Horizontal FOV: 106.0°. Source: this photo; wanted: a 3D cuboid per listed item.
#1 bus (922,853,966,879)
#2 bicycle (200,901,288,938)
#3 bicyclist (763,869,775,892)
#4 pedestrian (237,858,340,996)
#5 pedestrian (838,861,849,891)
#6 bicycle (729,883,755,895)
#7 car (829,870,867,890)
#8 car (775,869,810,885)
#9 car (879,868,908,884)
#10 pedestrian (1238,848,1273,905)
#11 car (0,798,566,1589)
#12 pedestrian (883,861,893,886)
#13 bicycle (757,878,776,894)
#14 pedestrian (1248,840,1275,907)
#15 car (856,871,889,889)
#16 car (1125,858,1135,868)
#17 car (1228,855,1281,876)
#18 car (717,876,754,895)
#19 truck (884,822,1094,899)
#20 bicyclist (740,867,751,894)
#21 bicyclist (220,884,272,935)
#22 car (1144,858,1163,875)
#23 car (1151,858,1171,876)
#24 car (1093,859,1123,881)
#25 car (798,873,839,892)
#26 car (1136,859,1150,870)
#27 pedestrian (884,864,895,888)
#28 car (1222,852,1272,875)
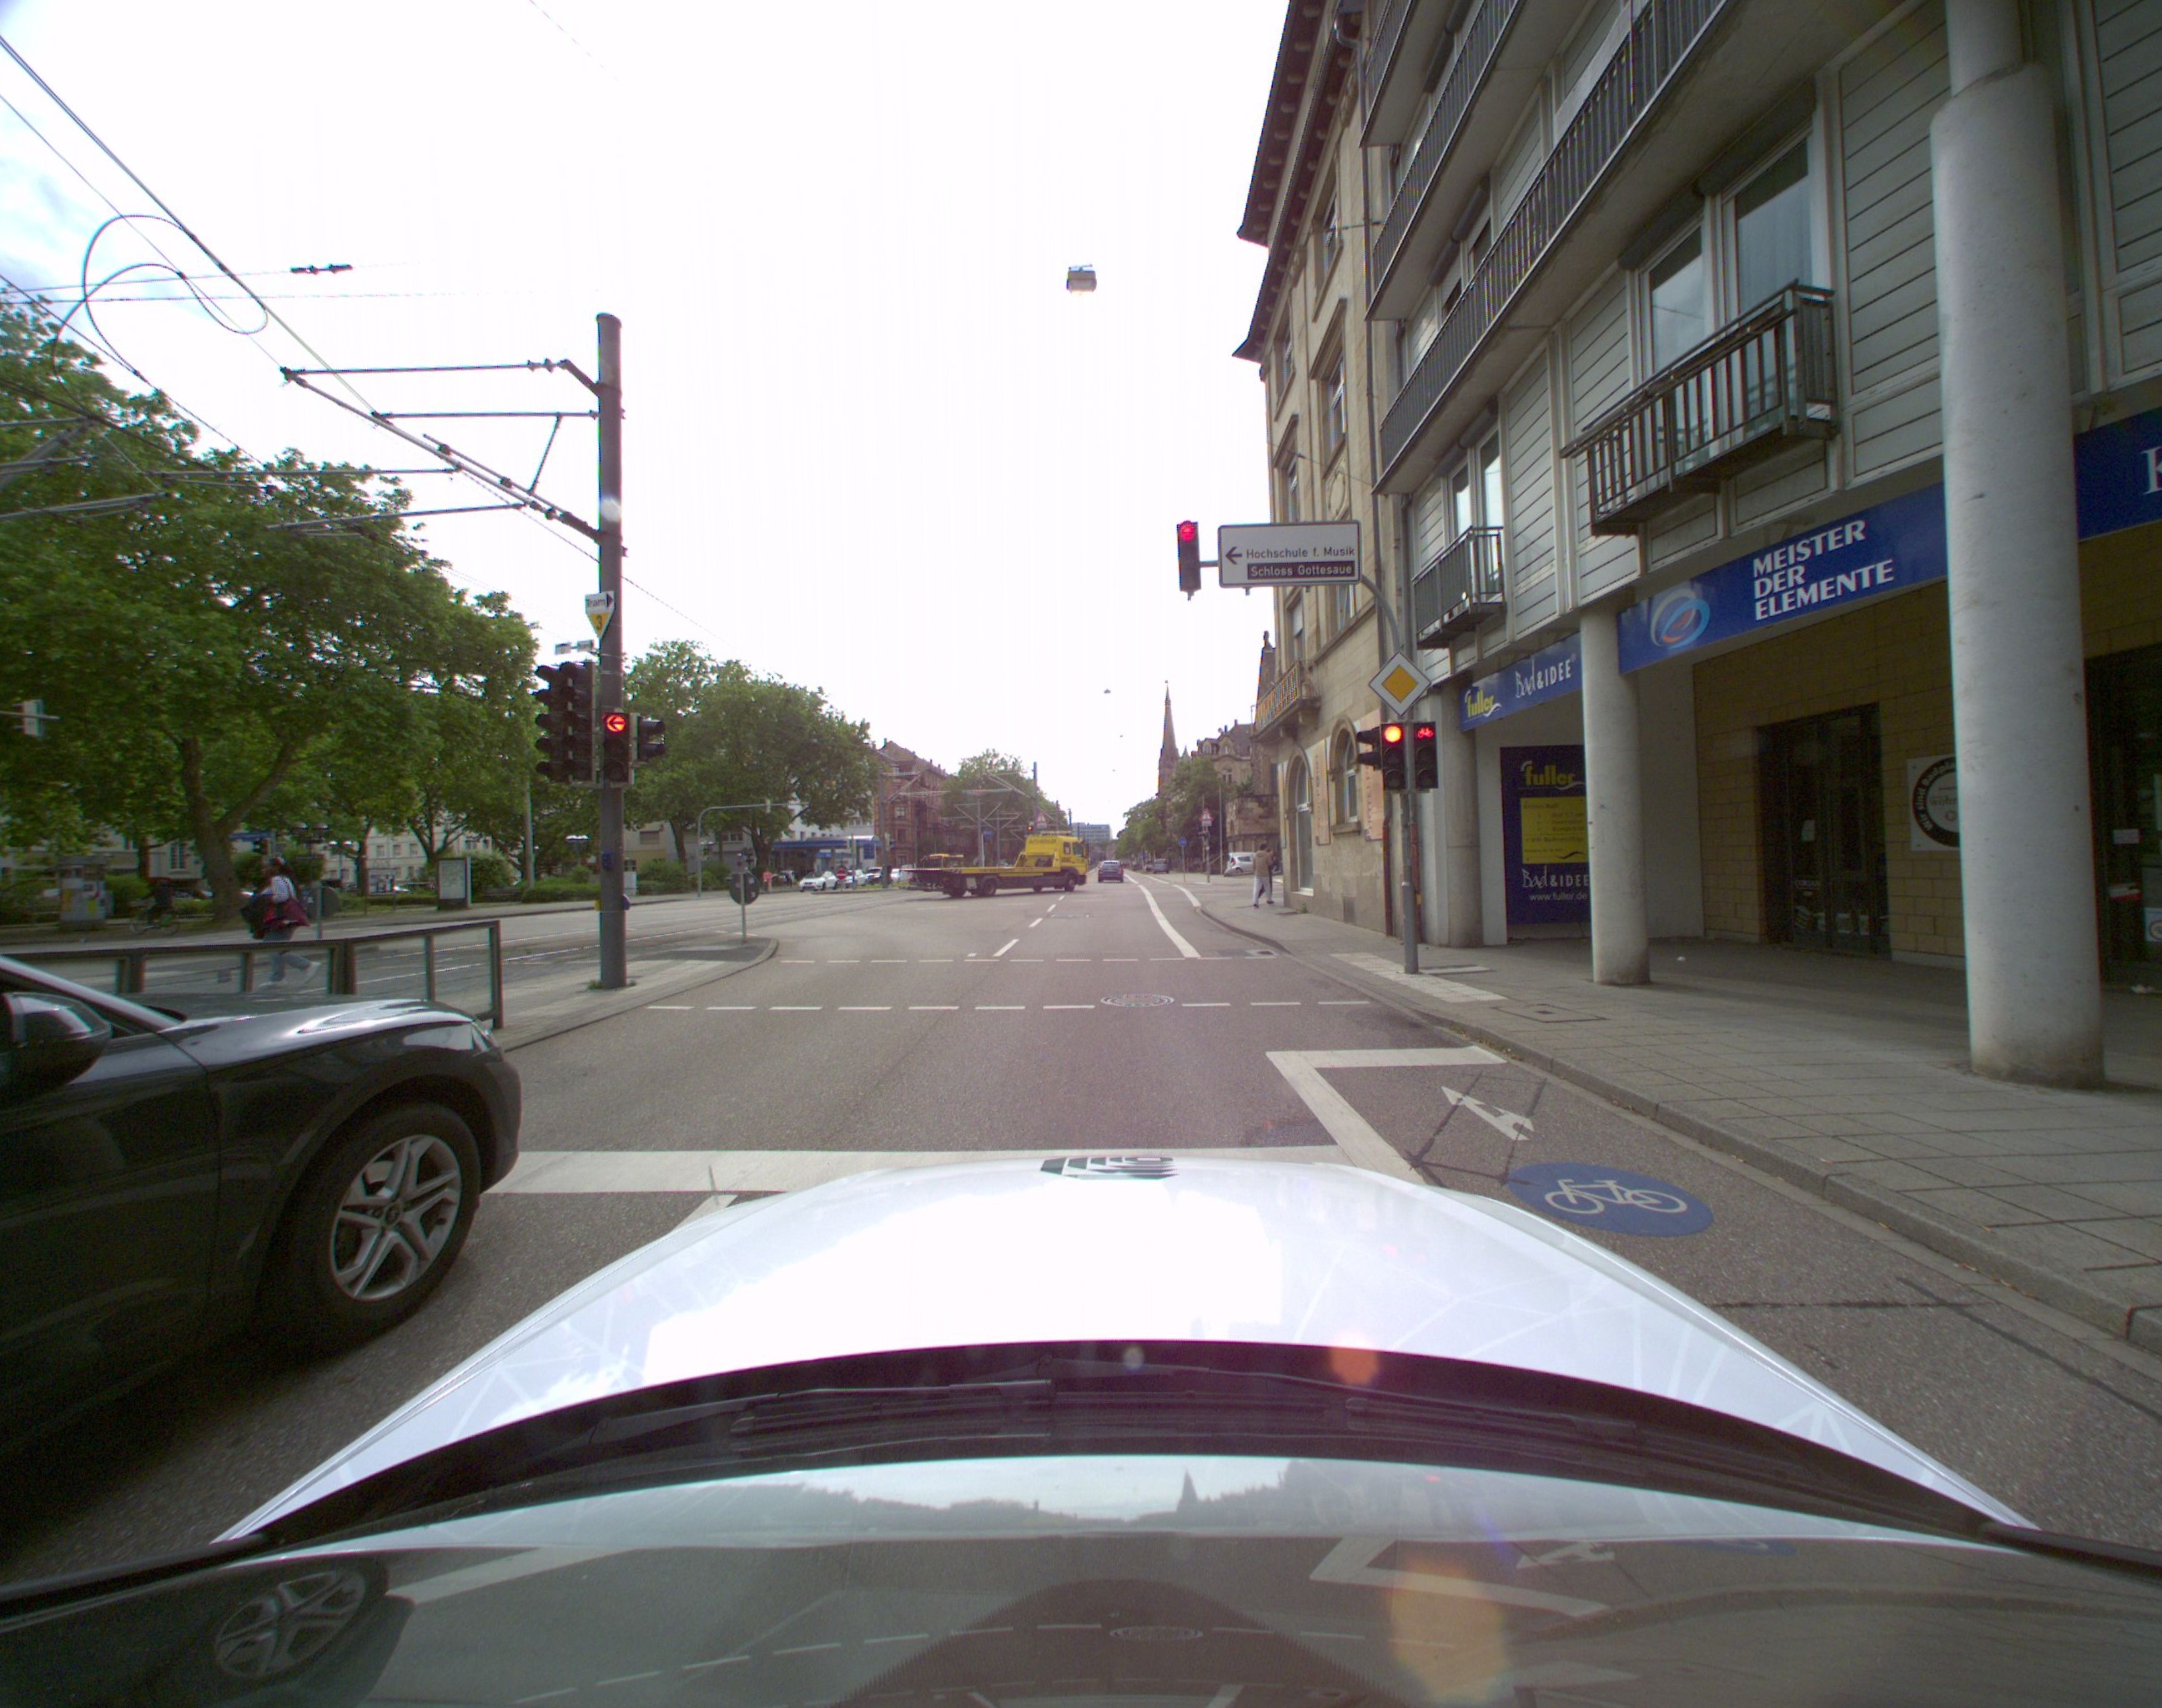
[{"bbox_3d":[-17.382,1.538,104.532,3.073,3.112,13.098,0,-1,2],"label":"bus"},{"bbox_3d":[-28.410,2.210,27.667,1.943,1.136,0.731,0,-1,-19],"label":"bicycle"},{"bbox_3d":[-21.463,1.793,55.983,0.585,1.568,0.619,0,-1,1],"label":"bicyclist"},{"bbox_3d":[-10.190,0.895,10.480,0.663,1.680,0.874,-1,-1,40],"label":"pedestrian"},{"bbox_3d":[-14.473,1.346,49.652,0.571,1.794,0.518,0,-1,-3],"label":"pedestrian"},{"bbox_3d":[-22.925,2.375,55.072,1.665,0.773,0.659,-1,-1,22],"label":"bicycle"},{"bbox_3d":[-18.813,2.067,65.942,1.887,1.557,3.837,0,-1,2],"label":"car"},{"bbox_3d":[-28.743,2.283,81.328,1.986,1.530,4.001,0,-1,2],"label":"car"},{"bbox_3d":[-18.317,2.127,79.751,1.887,1.557,3.837,0,-1,2],"label":"car"},{"bbox_3d":[5.231,0.667,24.446,0.620,1.653,1.003,-1,-1,39],"label":"pedestrian"},{"bbox_3d":[-3.142,0.696,1.240,1.873,1.601,4.358,-1,-1,1],"label":"car"},{"bbox_3d":[-12.405,1.248,52.339,0.544,1.537,0.465,0,-1,-3],"label":"pedestrian"},{"bbox_3d":[-21.471,2.181,55.664,0.520,1.017,1.937,0,-1,2],"label":"bicycle"},{"bbox_3d":[5.039,0.525,22.658,0.578,1.813,1.020,0,-1,21],"label":"pedestrian"},{"bbox_3d":[-18.586,2.282,72.856,1.887,1.557,3.837,0,-1,2],"label":"car"},{"bbox_3d":[10.270,1.861,172.452,1.986,2.014,4.001,0,-1,2],"label":"car"},{"bbox_3d":[13.754,0.884,64.736,3.785,1.601,2.001,0,-1,1],"label":"car"},{"bbox_3d":[-29.929,2.728,70.636,1.892,1.557,3.828,0,-1,-6],"label":"car"},{"bbox_3d":[-3.620,0.260,35.742,2.603,2.941,10.243,-1,-1,39],"label":"truck"},{"bbox_3d":[-22.720,1.799,55.119,0.528,1.784,0.472,-1,-1,21],"label":"bicyclist"},{"bbox_3d":[-28.369,1.878,27.689,1.041,1.683,0.641,0,-1,-19],"label":"bicyclist"},{"bbox_3d":[8.830,1.545,99.634,1.986,2.014,4.001,0,-1,1],"label":"car"},{"bbox_3d":[8.812,1.429,90.057,1.986,2.014,4.001,0,-1,1],"label":"car"},{"bbox_3d":[1.833,1.085,55.553,1.830,1.469,3.990,0,-1,-1],"label":"car"},{"bbox_3d":[-19.144,2.059,59.534,1.628,1.325,4.001,0,-1,2],"label":"car"},{"bbox_3d":[9.720,1.671,128.447,1.986,1.607,4.165,-3,-1,1],"label":"car"},{"bbox_3d":[-12.166,1.385,51.762,0.651,1.537,0.465,0,-1,-3],"label":"pedestrian"},{"bbox_3d":[13.865,0.776,68.148,3.785,1.904,2.001,0,-1,1],"label":"car"}]
